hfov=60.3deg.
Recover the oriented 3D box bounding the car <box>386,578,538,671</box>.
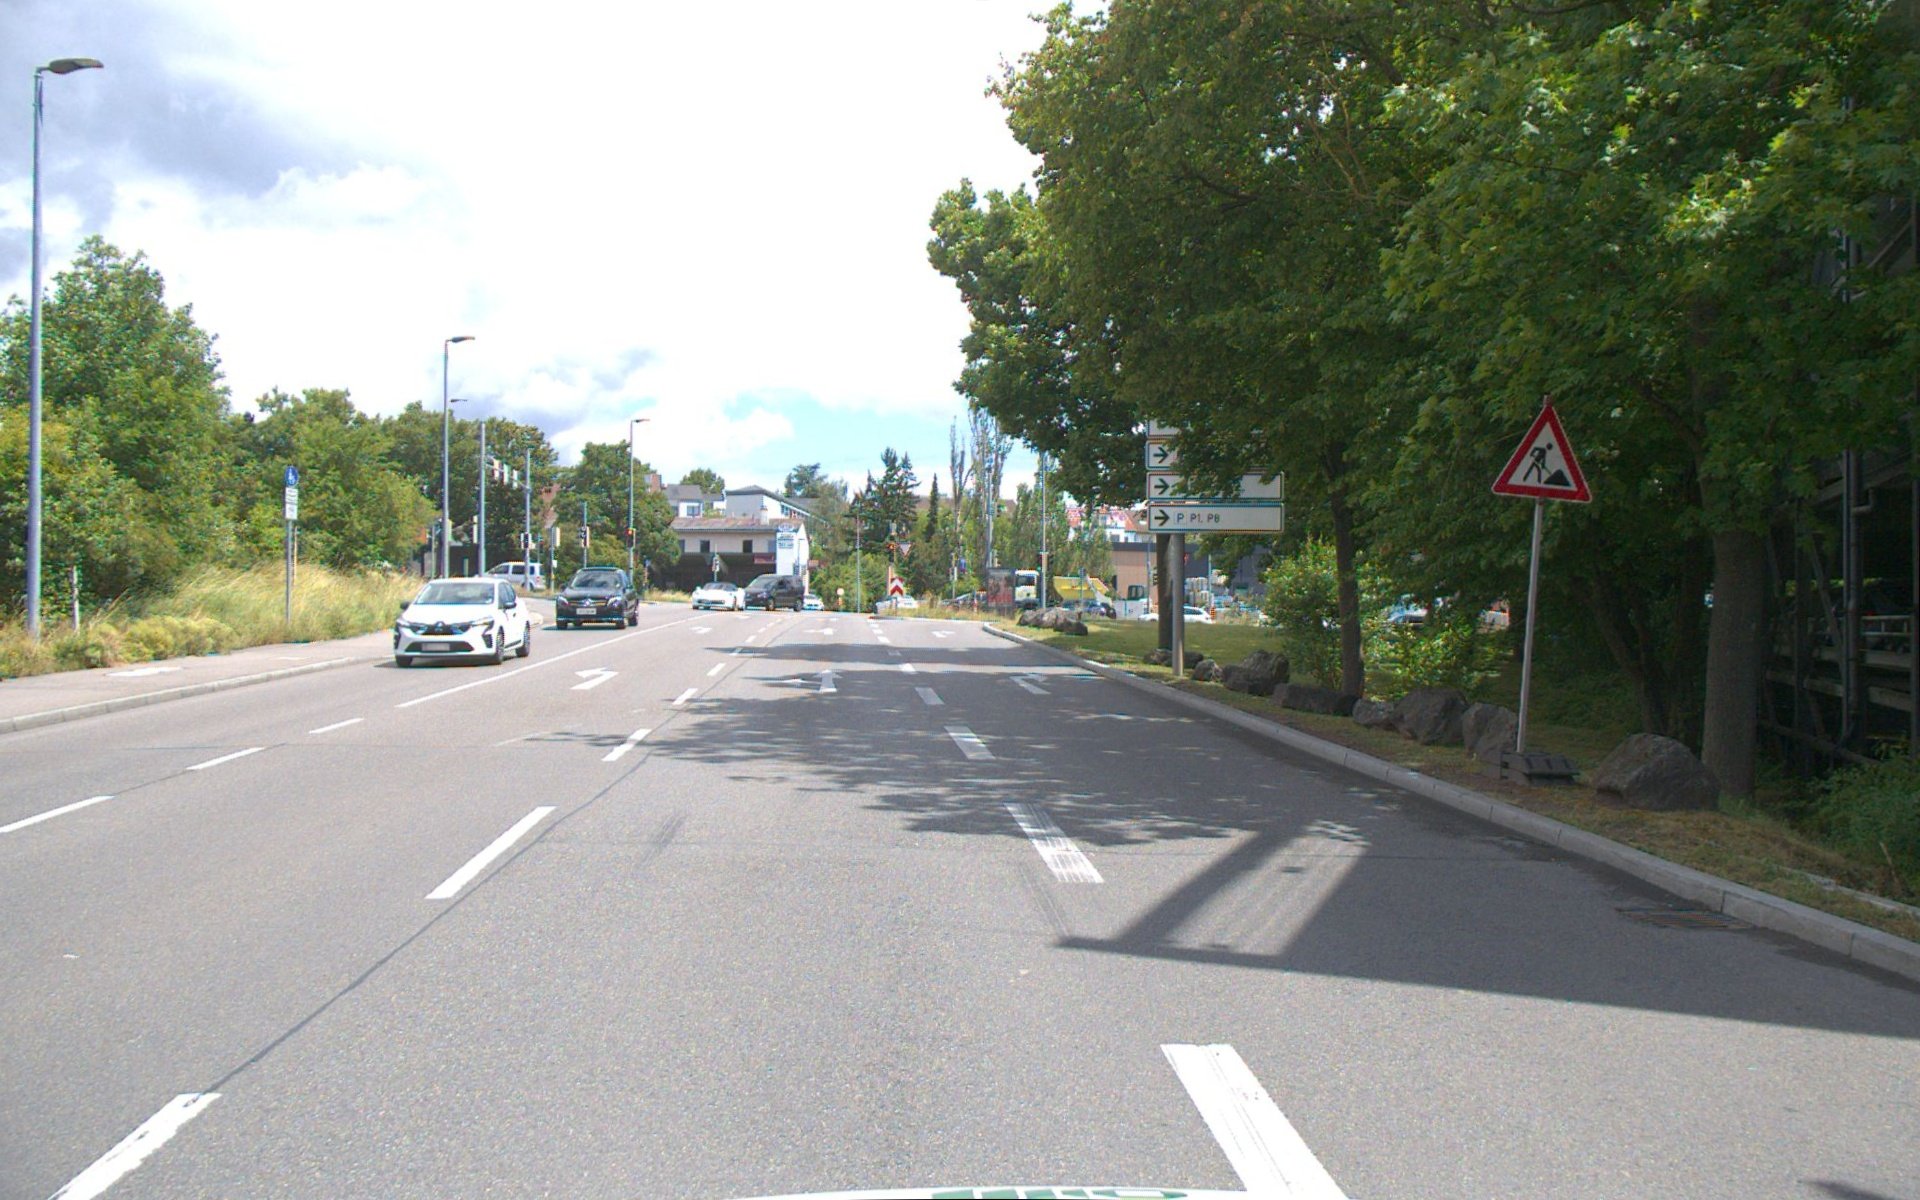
[{"bbox_3d":[-8.537,0.380,28.667,1.732,1.467,3.896,-1,0,-5],"label":"car"}]

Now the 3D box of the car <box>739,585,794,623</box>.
[{"bbox_3d":[-9.692,0.238,83.216,1.747,1.810,4.814,1,-1,6],"label":"car"}]

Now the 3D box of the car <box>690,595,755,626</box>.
[{"bbox_3d":[-10.492,0.433,73.387,1.864,1.314,4.612,-1,0,5],"label":"car"}]

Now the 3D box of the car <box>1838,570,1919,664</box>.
[{"bbox_3d":[16.719,0.277,27.262,3.765,1.516,1.695,0,0,20],"label":"car"}]

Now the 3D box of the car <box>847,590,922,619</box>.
[{"bbox_3d":[-5.063,0.301,110.655,4.697,1.810,1.790,0,-2,22],"label":"car"}]

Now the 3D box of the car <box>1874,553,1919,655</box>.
[{"bbox_3d":[15.082,0.053,23.159,3.765,1.416,1.695,0,0,20],"label":"car"}]

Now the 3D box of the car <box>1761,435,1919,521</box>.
[{"bbox_3d":[18.586,-2.491,34.040,3.615,1.647,1.728,0,2,21],"label":"car"}]

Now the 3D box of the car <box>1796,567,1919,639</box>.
[{"bbox_3d":[19.136,0.052,33.456,3.765,1.416,1.777,0,0,20],"label":"car"}]

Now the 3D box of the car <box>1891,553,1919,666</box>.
[{"bbox_3d":[14.094,0.124,20.951,3.765,1.416,1.695,0,0,20],"label":"car"}]

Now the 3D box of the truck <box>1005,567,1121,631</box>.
[{"bbox_3d":[6.255,-0.041,101.248,6.803,3.641,2.846,-2,-1,-1],"label":"truck"}]

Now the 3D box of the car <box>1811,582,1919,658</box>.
[{"bbox_3d":[18.428,0.377,31.503,3.765,1.416,1.695,0,0,20],"label":"car"}]

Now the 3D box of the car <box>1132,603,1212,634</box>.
[{"bbox_3d":[12.080,1.046,94.469,4.275,1.495,1.622,3,0,0],"label":"car"}]

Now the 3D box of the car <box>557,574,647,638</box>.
[{"bbox_3d":[-9.977,0.127,46.403,1.785,1.683,4.529,-1,1,-4],"label":"car"}]

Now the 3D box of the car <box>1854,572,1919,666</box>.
[{"bbox_3d":[15.910,0.283,25.239,3.765,1.416,1.695,0,0,20],"label":"car"}]

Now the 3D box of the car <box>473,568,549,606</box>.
[{"bbox_3d":[-26.605,-0.765,98.122,3.907,2.049,1.999,-2,-1,-2],"label":"car"}]

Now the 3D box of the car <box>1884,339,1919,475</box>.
[{"bbox_3d":[13.996,-2.505,21.133,3.615,1.647,1.660,0,2,21],"label":"car"}]

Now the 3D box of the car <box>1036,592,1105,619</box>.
[{"bbox_3d":[6.525,0.323,97.603,3.905,1.425,1.696,2,-1,0],"label":"car"}]

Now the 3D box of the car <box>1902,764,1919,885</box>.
[{"bbox_3d":[14.306,2.971,21.011,3.764,1.478,1.838,0,0,18],"label":"car"}]

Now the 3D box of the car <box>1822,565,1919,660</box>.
[{"bbox_3d":[17.557,0.221,29.394,3.765,1.654,1.695,0,0,20],"label":"car"}]

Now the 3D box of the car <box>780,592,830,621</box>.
[{"bbox_3d":[-11.044,0.463,117.701,1.884,1.892,3.763,-1,-1,-35],"label":"car"}]
